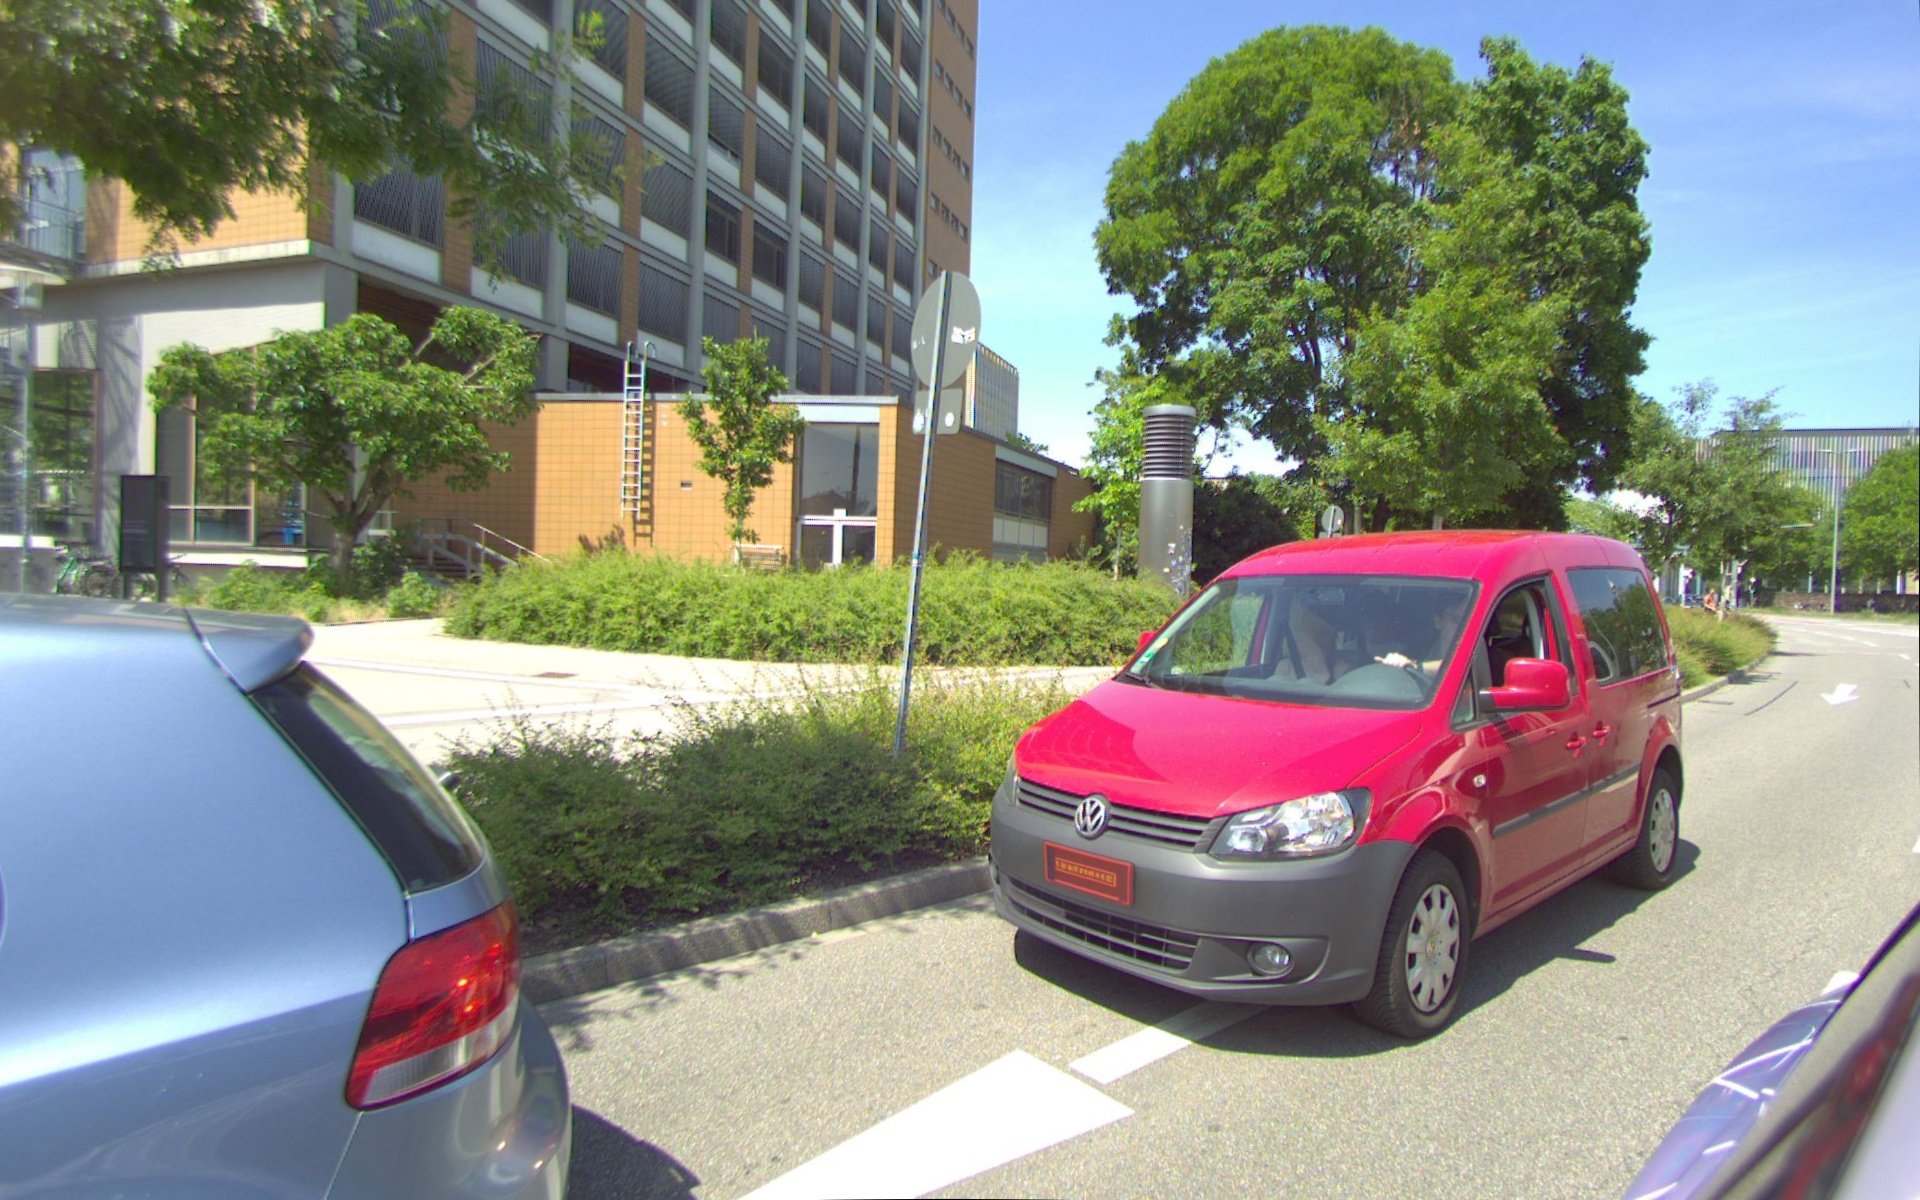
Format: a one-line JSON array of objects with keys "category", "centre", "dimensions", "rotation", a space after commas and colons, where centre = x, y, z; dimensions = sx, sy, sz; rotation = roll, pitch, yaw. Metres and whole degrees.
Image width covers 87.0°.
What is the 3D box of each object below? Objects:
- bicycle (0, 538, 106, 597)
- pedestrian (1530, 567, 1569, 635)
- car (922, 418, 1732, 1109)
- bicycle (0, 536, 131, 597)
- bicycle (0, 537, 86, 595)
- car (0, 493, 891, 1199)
[{"category": "bicycle", "centre": [-20.053, -0.695, 22.023], "dimensions": [0.630, 1.233, 2.202], "rotation": [0, 0, 22]}, {"category": "pedestrian", "centre": [15.975, 0.021, 27.430], "dimensions": [0.603, 1.820, 0.728], "rotation": [1, 1, -40]}, {"category": "car", "centre": [2.085, 0.434, 4.846], "dimensions": [4.465, 1.882, 1.654], "rotation": [0, 1, -41]}, {"category": "bicycle", "centre": [-19.191, -0.696, 21.665], "dimensions": [0.630, 1.233, 2.202], "rotation": [0, 0, 22]}, {"category": "bicycle", "centre": [-20.678, -0.735, 22.233], "dimensions": [0.630, 1.233, 2.201], "rotation": [0, 0, 22]}, {"category": "car", "centre": [-2.141, 0.619, 1.109], "dimensions": [3.933, 1.477, 1.654], "rotation": [0, 0, -41]}]
